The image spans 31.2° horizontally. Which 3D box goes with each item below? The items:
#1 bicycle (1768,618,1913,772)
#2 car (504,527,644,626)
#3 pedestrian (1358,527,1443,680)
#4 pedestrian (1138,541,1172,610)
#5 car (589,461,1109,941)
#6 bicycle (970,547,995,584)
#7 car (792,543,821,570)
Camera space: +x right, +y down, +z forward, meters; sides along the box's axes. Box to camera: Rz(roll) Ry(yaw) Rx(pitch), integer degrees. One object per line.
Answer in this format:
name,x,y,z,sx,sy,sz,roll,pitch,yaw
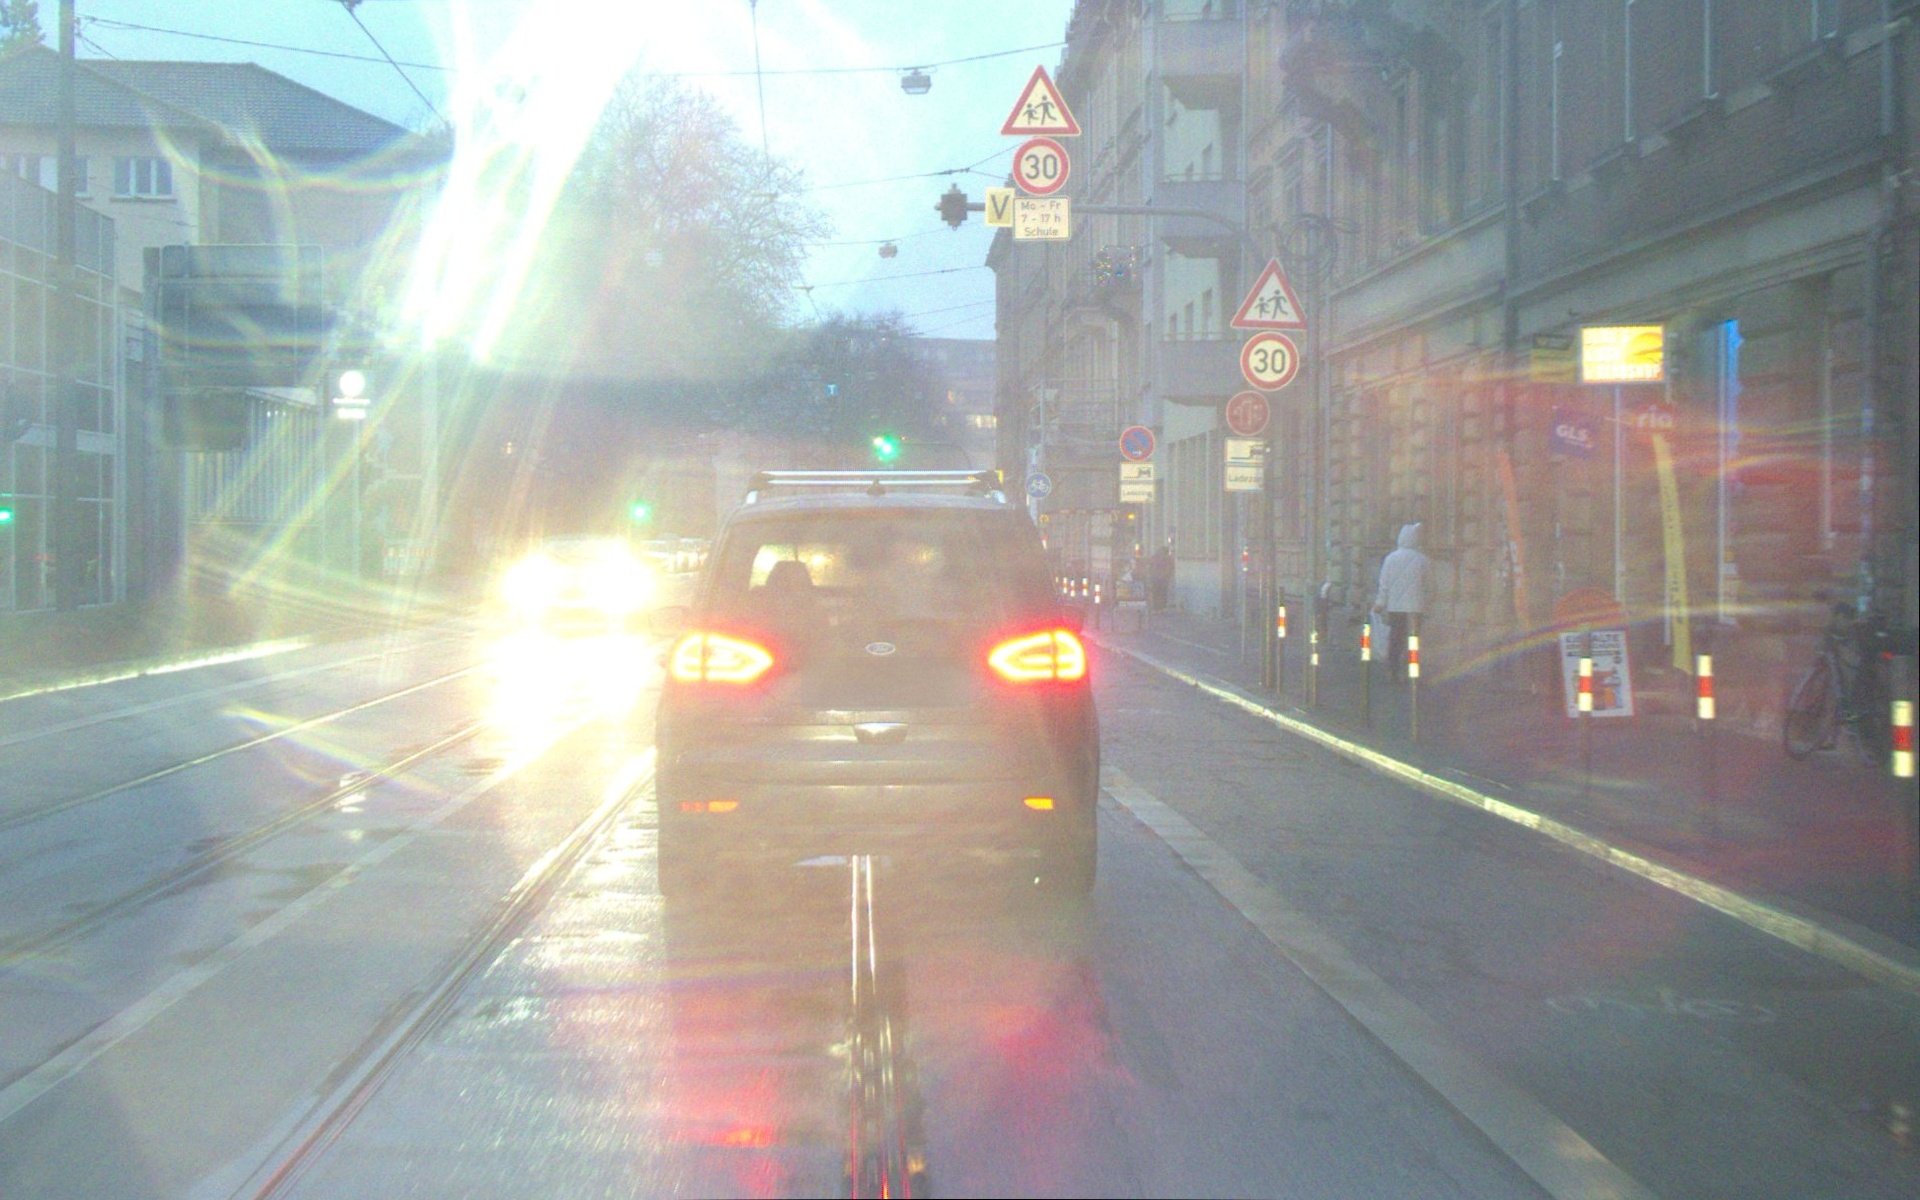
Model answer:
bicycle,5.657,0.591,22.152,0.397,0.908,1.867,0,1,-2
car,-6.348,-0.413,56.950,1.841,1.573,4.442,0,1,0
pedestrian,4.625,0.026,36.094,0.786,1.592,0.742,0,1,-1
pedestrian,3.939,-0.491,69.334,0.600,1.372,0.728,1,0,-2
car,-0.395,0.358,15.257,1.993,1.835,4.000,0,1,1
bicycle,0.699,-1.094,108.339,0.684,1.152,2.188,1,1,-1
car,-8.697,-2.483,194.796,1.530,1.476,3.561,0,1,-1
